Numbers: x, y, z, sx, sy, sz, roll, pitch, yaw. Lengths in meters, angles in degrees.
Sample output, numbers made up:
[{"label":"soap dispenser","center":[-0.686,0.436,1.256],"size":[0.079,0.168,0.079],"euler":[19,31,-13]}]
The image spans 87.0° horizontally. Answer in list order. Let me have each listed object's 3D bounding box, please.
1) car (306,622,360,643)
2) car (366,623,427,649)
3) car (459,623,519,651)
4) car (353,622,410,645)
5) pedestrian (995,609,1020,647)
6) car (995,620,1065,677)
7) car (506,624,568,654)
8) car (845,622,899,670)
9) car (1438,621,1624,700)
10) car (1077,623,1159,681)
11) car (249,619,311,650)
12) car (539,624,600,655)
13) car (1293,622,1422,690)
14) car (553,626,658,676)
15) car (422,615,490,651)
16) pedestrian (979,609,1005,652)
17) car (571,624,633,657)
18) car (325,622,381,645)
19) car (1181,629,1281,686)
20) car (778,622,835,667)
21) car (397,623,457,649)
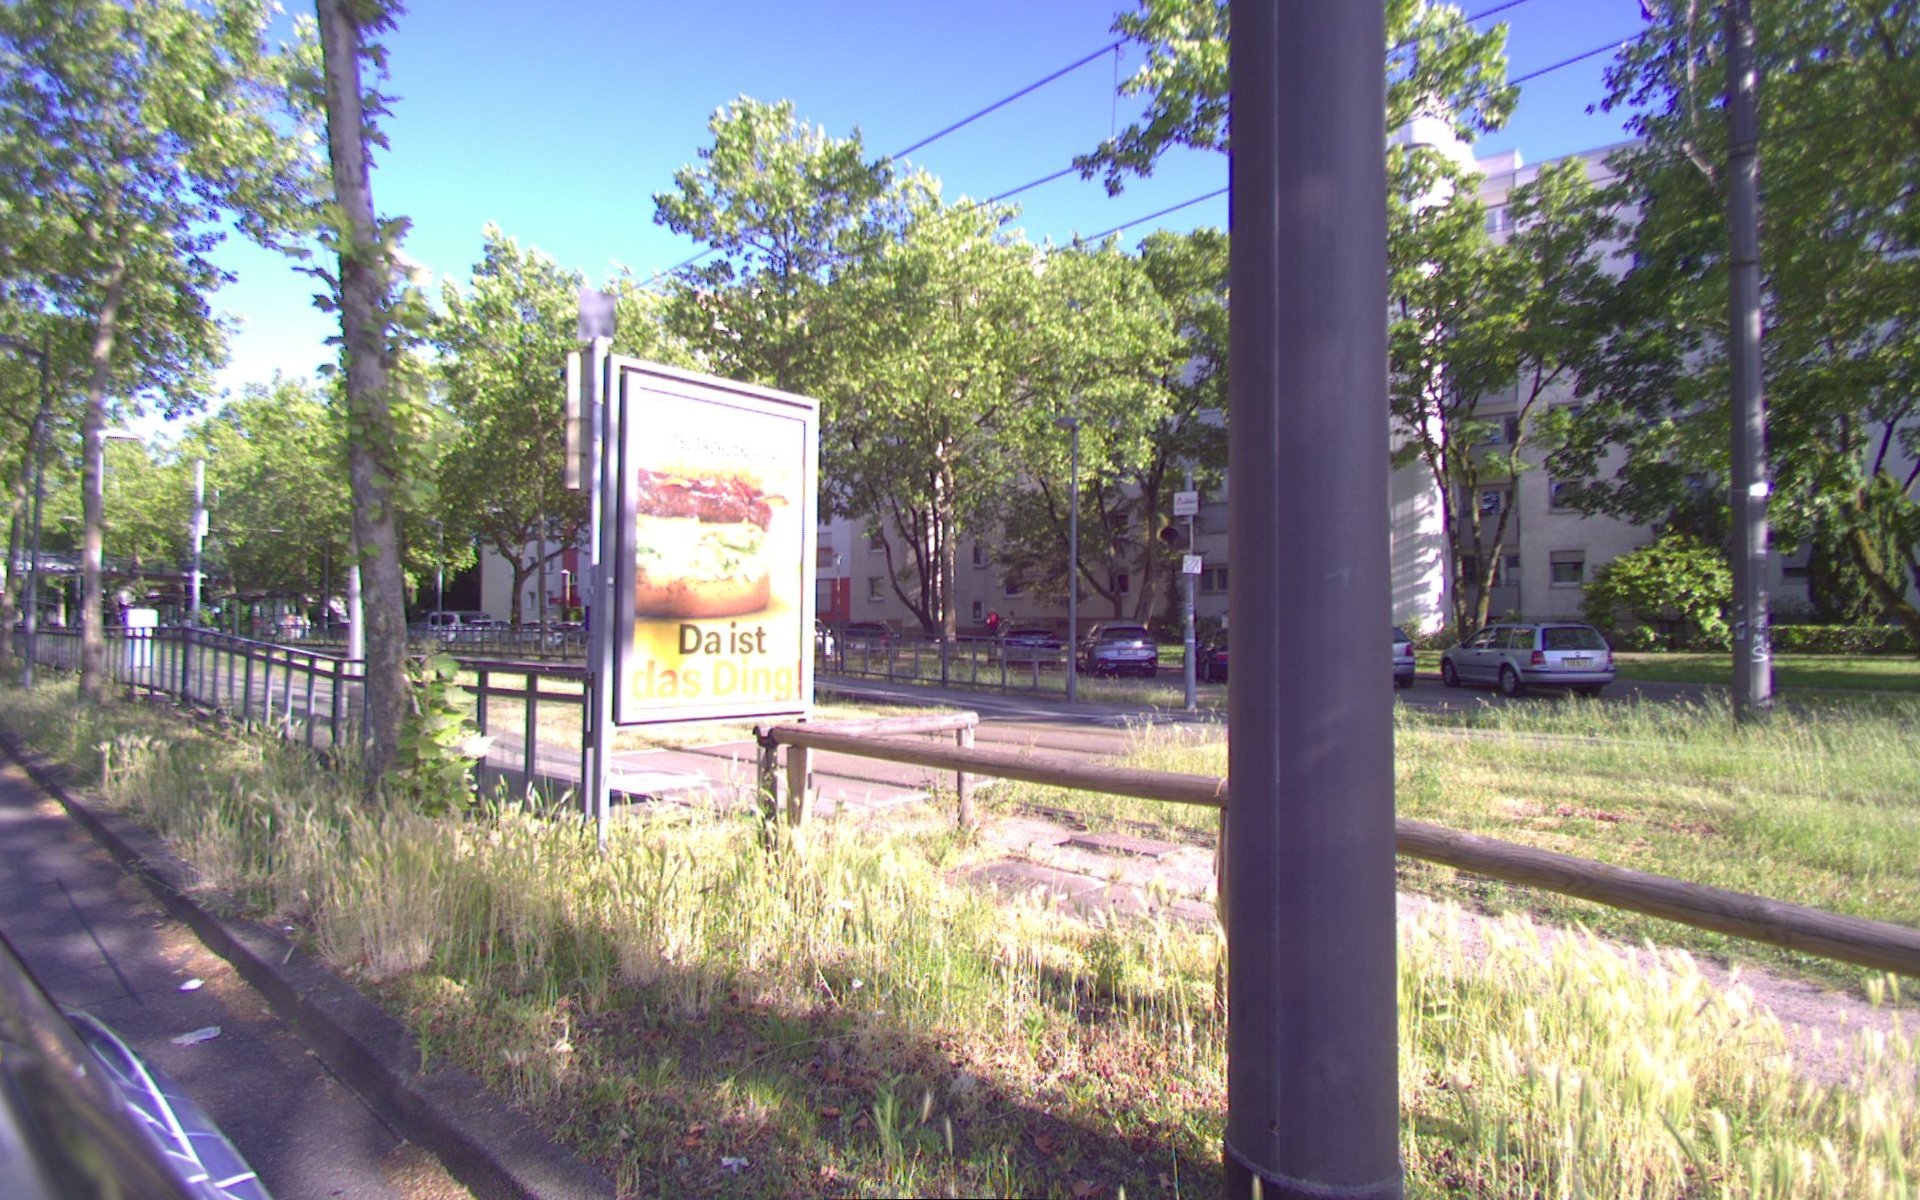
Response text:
[{"label":"car","center":[-44.979,2.292,72.682],"size":[1.633,1.452,3.805],"euler":[-1,-1,-2]},{"label":"car","center":[-33.694,2.118,60.603],"size":[1.633,1.452,3.805],"euler":[-1,-1,-2]},{"label":"car","center":[-25.871,2.004,55.661],"size":[1.633,1.452,3.805],"euler":[-1,-1,-2]},{"label":"car","center":[-37.884,2.177,66.379],"size":[1.633,1.452,3.805],"euler":[-1,-1,-2]},{"label":"pedestrian","center":[2.099,1.210,44.268],"size":[0.786,1.635,0.755],"euler":[-1,0,39]},{"label":"car","center":[1.984,1.359,29.668],"size":[1.633,1.522,3.805],"euler":[-1,-1,-2]},{"label":"car","center":[-21.337,1.944,51.184],"size":[1.633,1.452,3.805],"euler":[-1,-1,-2]},{"label":"car","center":[-2.976,1.531,34.650],"size":[1.633,1.522,3.805],"euler":[-1,-1,-2]},{"label":"car","center":[11.474,1.165,20.666],"size":[1.559,1.413,3.906],"euler":[-1,-1,0]},{"label":"car","center":[4.218,1.368,27.520],"size":[1.633,1.413,3.803],"euler":[-1,-1,0]},{"label":"car","center":[-42.146,2.095,62.694],"size":[4.896,1.835,1.809],"euler":[-1,-1,38]},{"label":"car","center":[-19.045,1.902,49.541],"size":[1.633,1.452,3.805],"euler":[-1,-1,-2]},{"label":"car","center":[9.143,1.242,23.591],"size":[1.559,1.413,3.638],"euler":[-1,-1,0]},{"label":"car","center":[-12.532,1.766,35.638],"size":[4.293,1.631,1.634],"euler":[-2,-1,42]},{"label":"car","center":[-28.453,1.829,57.255],"size":[1.814,1.888,4.323],"euler":[-1,-1,-2]},{"label":"pedestrian","center":[1.317,1.253,41.943],"size":[0.786,1.745,0.755],"euler":[-1,0,39]},{"label":"car","center":[-16.626,1.859,47.160],"size":[1.633,1.452,3.805],"euler":[-1,-1,-2]},{"label":"car","center":[-40.838,2.231,68.192],"size":[1.633,1.452,3.805],"euler":[-1,-1,-2]},{"label":"car","center":[6.675,1.382,25.278],"size":[1.445,1.234,3.815],"euler":[-1,-1,0]},{"label":"car","center":[-5.565,1.573,37.019],"size":[1.633,1.522,3.805],"euler":[-1,-1,-2]},{"label":"car","center":[-31.331,2.088,59.600],"size":[1.633,1.452,3.805],"euler":[-1,-1,-2]}]
